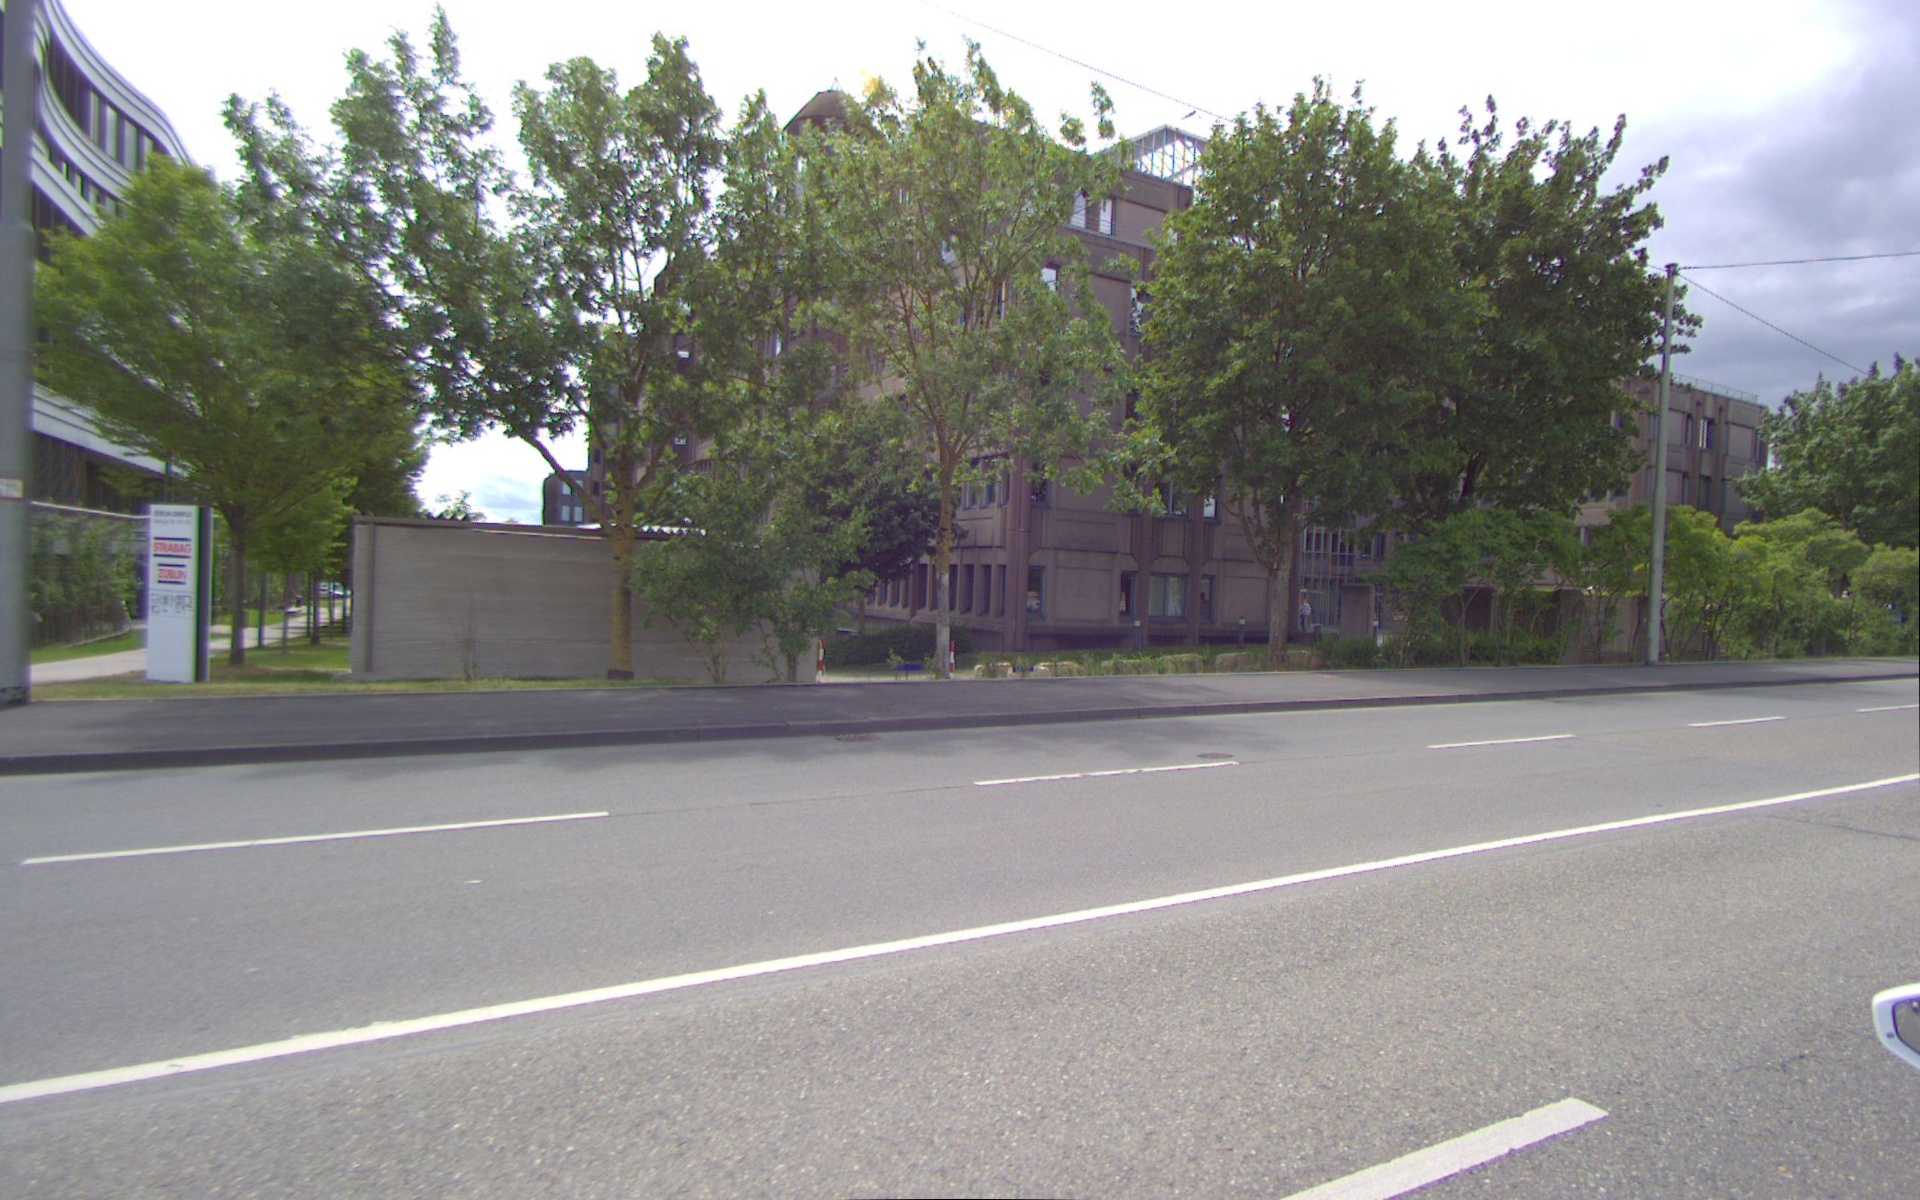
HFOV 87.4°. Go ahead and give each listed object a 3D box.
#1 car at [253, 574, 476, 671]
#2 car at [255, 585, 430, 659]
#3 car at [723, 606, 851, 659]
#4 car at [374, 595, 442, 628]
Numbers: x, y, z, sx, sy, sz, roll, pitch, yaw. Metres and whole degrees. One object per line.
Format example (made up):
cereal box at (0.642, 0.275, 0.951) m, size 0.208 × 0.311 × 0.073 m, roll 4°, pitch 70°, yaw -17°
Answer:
car at (-12.986, 0.505, 22.008) m, size 3.961 × 1.817 × 1.851 m, roll 5°, pitch -2°, yaw -35°
car at (-17.021, 0.619, 27.898) m, size 3.954 × 1.795 × 1.834 m, roll 4°, pitch 0°, yaw -30°
car at (-6.033, 1.124, 35.092) m, size 3.953 × 1.684 × 1.984 m, roll 2°, pitch 1°, yaw -30°
car at (-37.123, 0.778, 67.601) m, size 3.953 × 2.040 × 1.984 m, roll 2°, pitch 1°, yaw -30°
